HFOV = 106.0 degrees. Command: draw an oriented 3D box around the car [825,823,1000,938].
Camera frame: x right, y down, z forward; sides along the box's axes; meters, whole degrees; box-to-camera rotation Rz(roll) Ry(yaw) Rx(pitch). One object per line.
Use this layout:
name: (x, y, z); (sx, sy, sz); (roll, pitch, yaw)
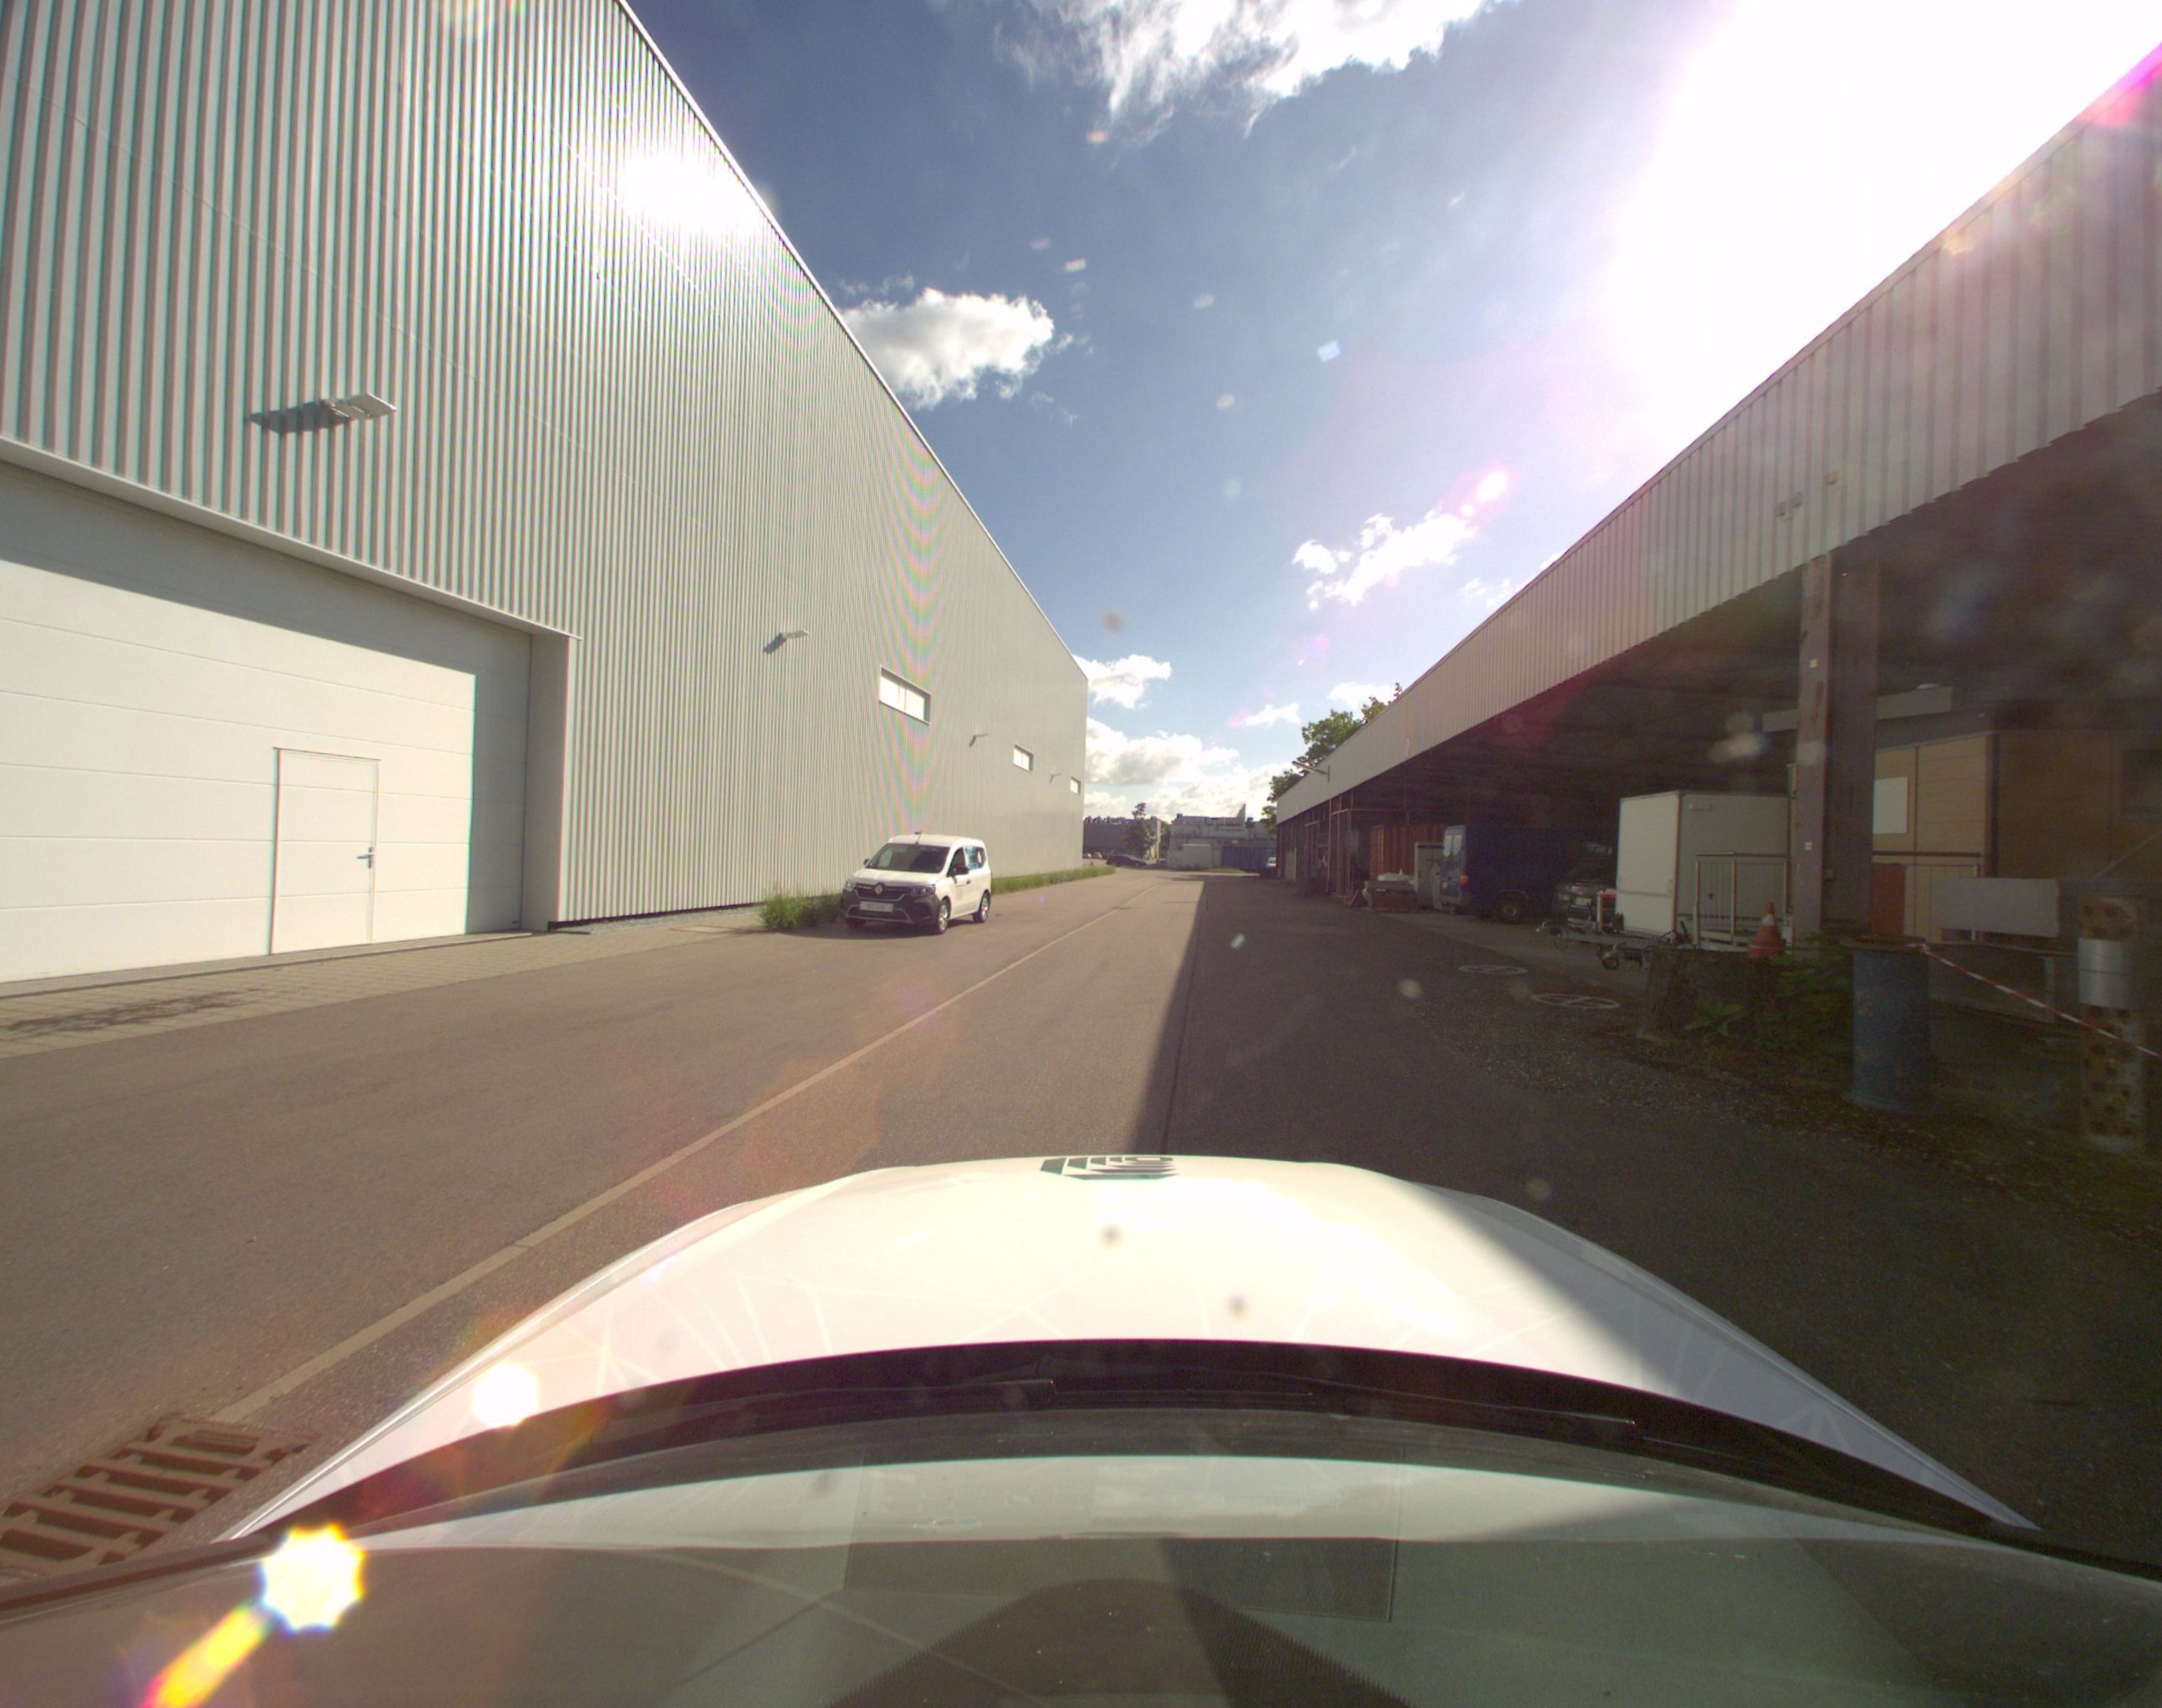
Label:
car: (-3.101, 0.449, 16.030); (1.880, 1.845, 4.368); (3, 0, 8)

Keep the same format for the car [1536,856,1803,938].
car: (11.558, 0.801, 16.222); (3.969, 1.472, 1.790); (1, 0, 4)

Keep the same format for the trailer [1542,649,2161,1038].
trailer: (10.437, -0.070, 7.968); (9.980, 3.216, 2.860); (1, 0, 8)

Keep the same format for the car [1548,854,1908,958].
car: (10.274, 0.773, 13.237); (4.306, 1.496, 1.780); (1, 0, 6)

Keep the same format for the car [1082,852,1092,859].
car: (1.411, 0.425, 196.622); (1.982, 1.736, 4.009); (0, -1, 8)

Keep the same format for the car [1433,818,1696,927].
car: (11.229, 0.392, 19.273); (4.950, 2.325, 2.005); (1, 0, 9)

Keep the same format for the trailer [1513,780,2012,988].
trailer: (8.606, 0.314, 10.803); (4.779, 2.391, 1.833); (1, 0, 13)

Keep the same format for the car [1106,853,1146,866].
car: (5.407, 0.671, 98.030); (4.498, 1.508, 1.914); (1, 0, 10)

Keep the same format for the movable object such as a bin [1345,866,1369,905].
movable object such as a bin: (8.586, 0.963, 25.400); (0.577, 1.164, 1.242); (0, 0, 13)

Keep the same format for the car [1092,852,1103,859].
car: (4.009, 0.389, 196.597); (2.181, 1.736, 4.009); (0, -1, 8)

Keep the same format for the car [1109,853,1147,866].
car: (5.875, 0.701, 101.241); (4.498, 1.508, 1.914); (1, 0, 10)

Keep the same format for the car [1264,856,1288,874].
car: (19.815, 1.097, 83.041); (1.982, 1.585, 4.183); (1, 1, 8)

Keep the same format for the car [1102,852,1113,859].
car: (6.261, 0.333, 194.542); (2.181, 1.736, 4.009); (0, -1, 8)

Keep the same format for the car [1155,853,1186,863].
car: (13.763, 0.596, 124.780); (4.499, 1.508, 1.914); (1, 0, 9)
